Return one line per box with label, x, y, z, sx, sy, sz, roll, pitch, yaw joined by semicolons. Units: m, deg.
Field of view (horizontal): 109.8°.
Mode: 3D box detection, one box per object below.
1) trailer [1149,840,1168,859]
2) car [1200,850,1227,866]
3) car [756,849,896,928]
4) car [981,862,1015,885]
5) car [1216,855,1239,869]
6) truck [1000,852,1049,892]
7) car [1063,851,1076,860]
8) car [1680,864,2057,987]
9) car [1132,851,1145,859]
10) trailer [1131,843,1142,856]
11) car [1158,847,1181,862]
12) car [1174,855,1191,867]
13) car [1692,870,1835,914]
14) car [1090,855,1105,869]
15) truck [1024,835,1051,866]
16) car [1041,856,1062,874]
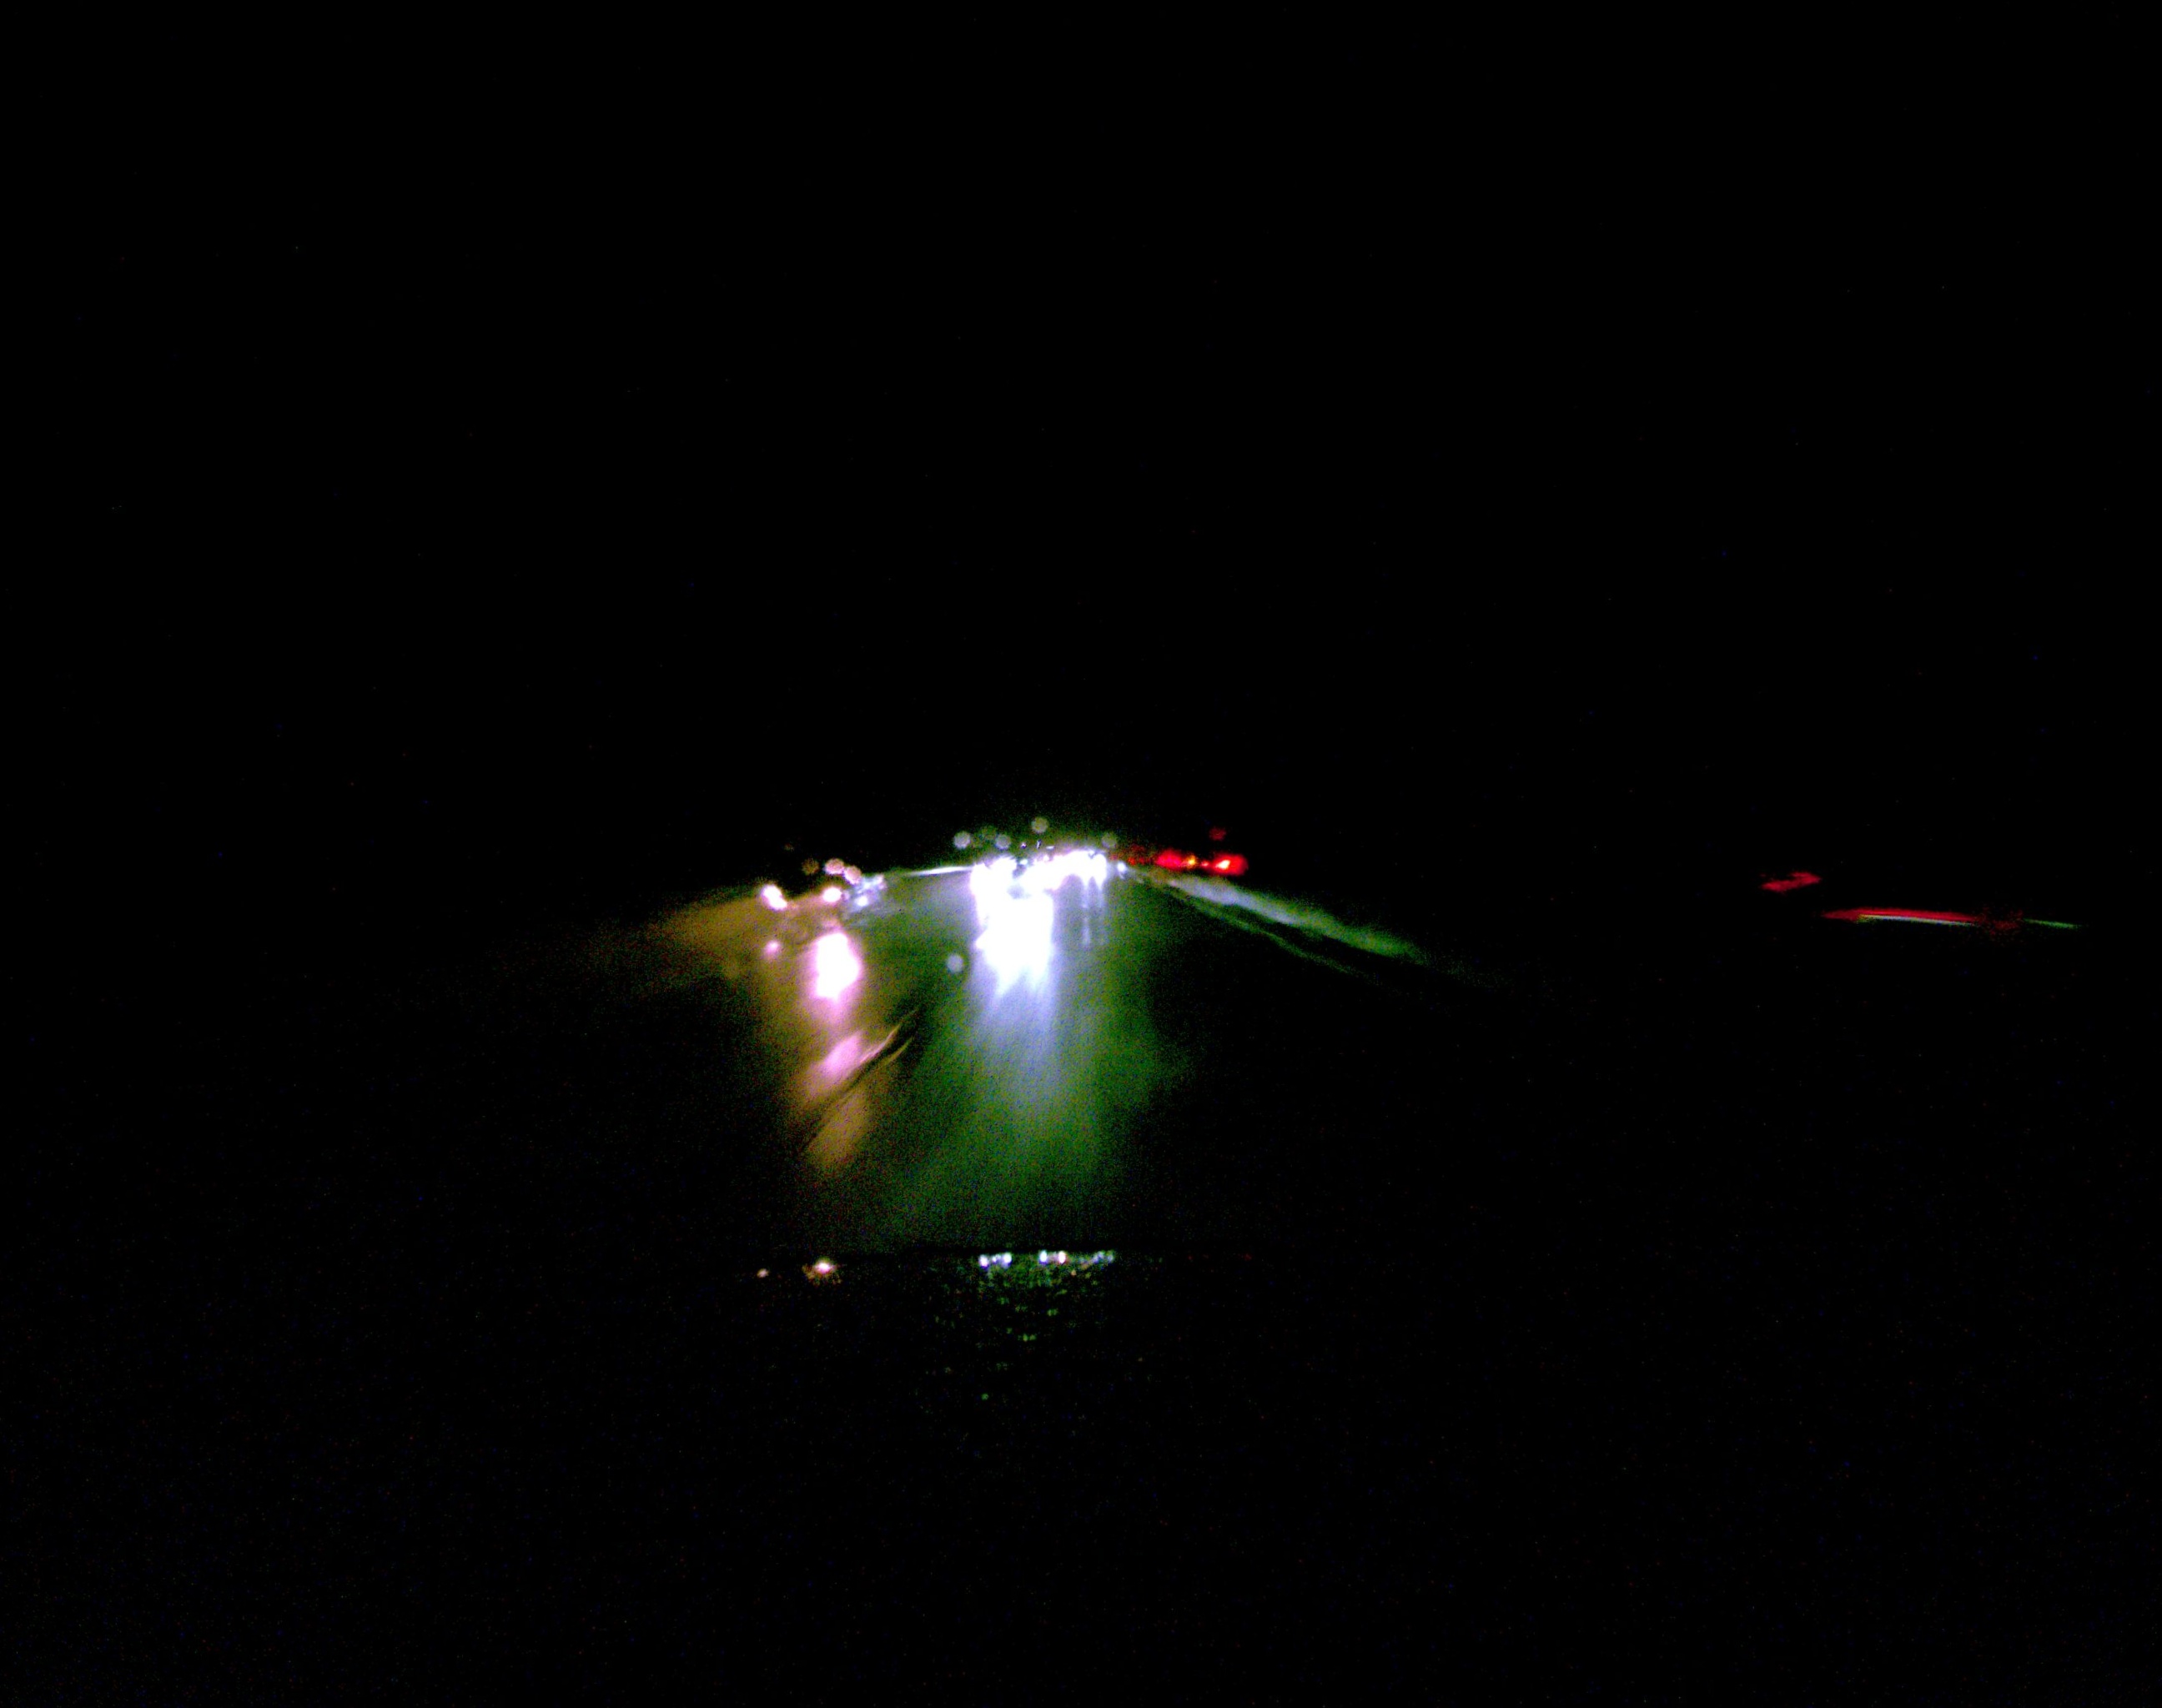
trailer;18.816;-1.077;185.132;2.894;4.278;15.719;-2;-1;1
car;13.820;0.422;79.386;1.999;1.607;4.745;0;0;0
car;-7.116;0.881;21.972;2.051;1.962;5.407;-2;0;2
car;-5.997;1.399;55.257;1.747;1.470;5.366;-3;0;1
car;17.210;0.883;89.511;1.877;1.607;4.501;0;0;0
truck;-2.652;0.823;36.648;1.848;1.686;4.854;-2;1;1
car;-2.025;0.242;132.551;1.944;1.521;4.000;-2;1;2
car;13.075;1.063;13.158;1.866;1.572;4.513;-2;1;1
car;10.212;0.199;135.867;1.967;1.337;4.288;-2;0;0
trailer;19.436;-1.619;266.026;3.056;4.268;14.408;1;0;0
car;9.751;0.105;84.368;1.999;1.607;4.417;0;0;0
car;14.035;1.008;105.334;1.654;1.572;5.128;-2;0;1
car;28.112;1.508;31.508;1.868;1.462;4.352;-3;1;-3
car;1.849;0.857;84.524;1.619;1.452;3.767;-2;1;2
truck;-6.012;-0.544;106.471;2.866;4.079;7.014;-3;1;2
car;-2.720;1.015;71.304;1.619;1.494;3.767;-2;1;2
